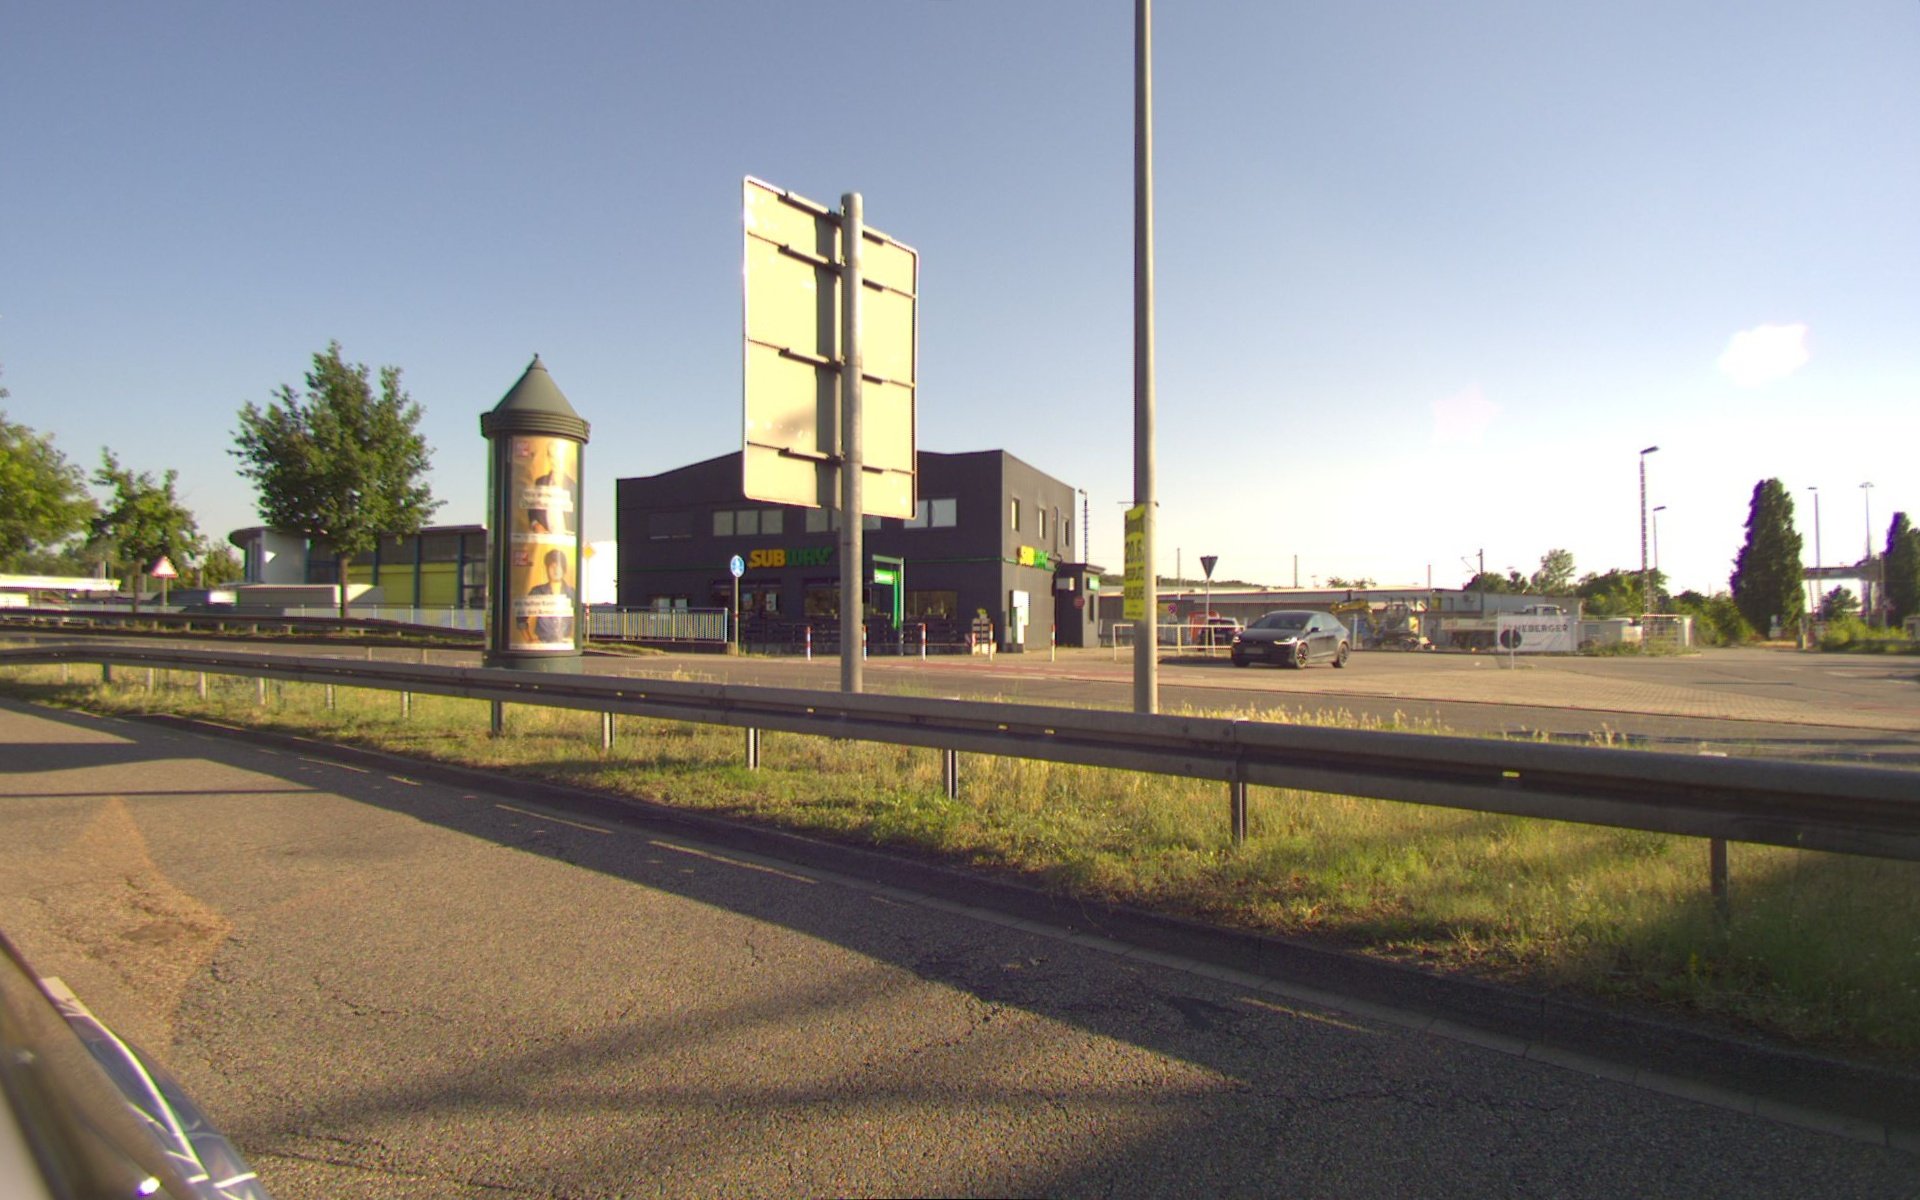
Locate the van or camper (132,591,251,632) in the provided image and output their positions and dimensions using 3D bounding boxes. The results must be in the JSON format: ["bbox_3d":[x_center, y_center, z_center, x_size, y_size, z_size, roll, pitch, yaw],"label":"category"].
[{"bbox_3d":[-34.565,0.514,45.526,4.924,1.698,1.986,1,0,21],"label":"van or camper"}]

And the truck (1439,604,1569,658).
[{"bbox_3d":[33.987,1.906,63.394,6.696,3.168,2.434,1,-1,6],"label":"truck"}]

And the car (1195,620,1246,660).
[{"bbox_3d":[10.996,1.635,42.523,1.829,1.541,3.976,1,-1,18],"label":"car"}]

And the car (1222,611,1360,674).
[{"bbox_3d":[9.575,1.167,29.126,4.449,1.676,1.794,1,-1,-42],"label":"car"}]

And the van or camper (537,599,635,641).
[{"bbox_3d":[-18.553,1.003,50.259,4.158,1.940,2.006,2,-1,-33],"label":"van or camper"}]

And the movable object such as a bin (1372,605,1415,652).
[{"bbox_3d":[25.997,1.658,60.656,2.210,2.735,1.723,0,-1,28],"label":"movable object such as a bin"}]

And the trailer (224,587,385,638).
[{"bbox_3d":[-27.845,0.500,42.996,6.560,1.985,2.410,1,0,22],"label":"trailer"}]
